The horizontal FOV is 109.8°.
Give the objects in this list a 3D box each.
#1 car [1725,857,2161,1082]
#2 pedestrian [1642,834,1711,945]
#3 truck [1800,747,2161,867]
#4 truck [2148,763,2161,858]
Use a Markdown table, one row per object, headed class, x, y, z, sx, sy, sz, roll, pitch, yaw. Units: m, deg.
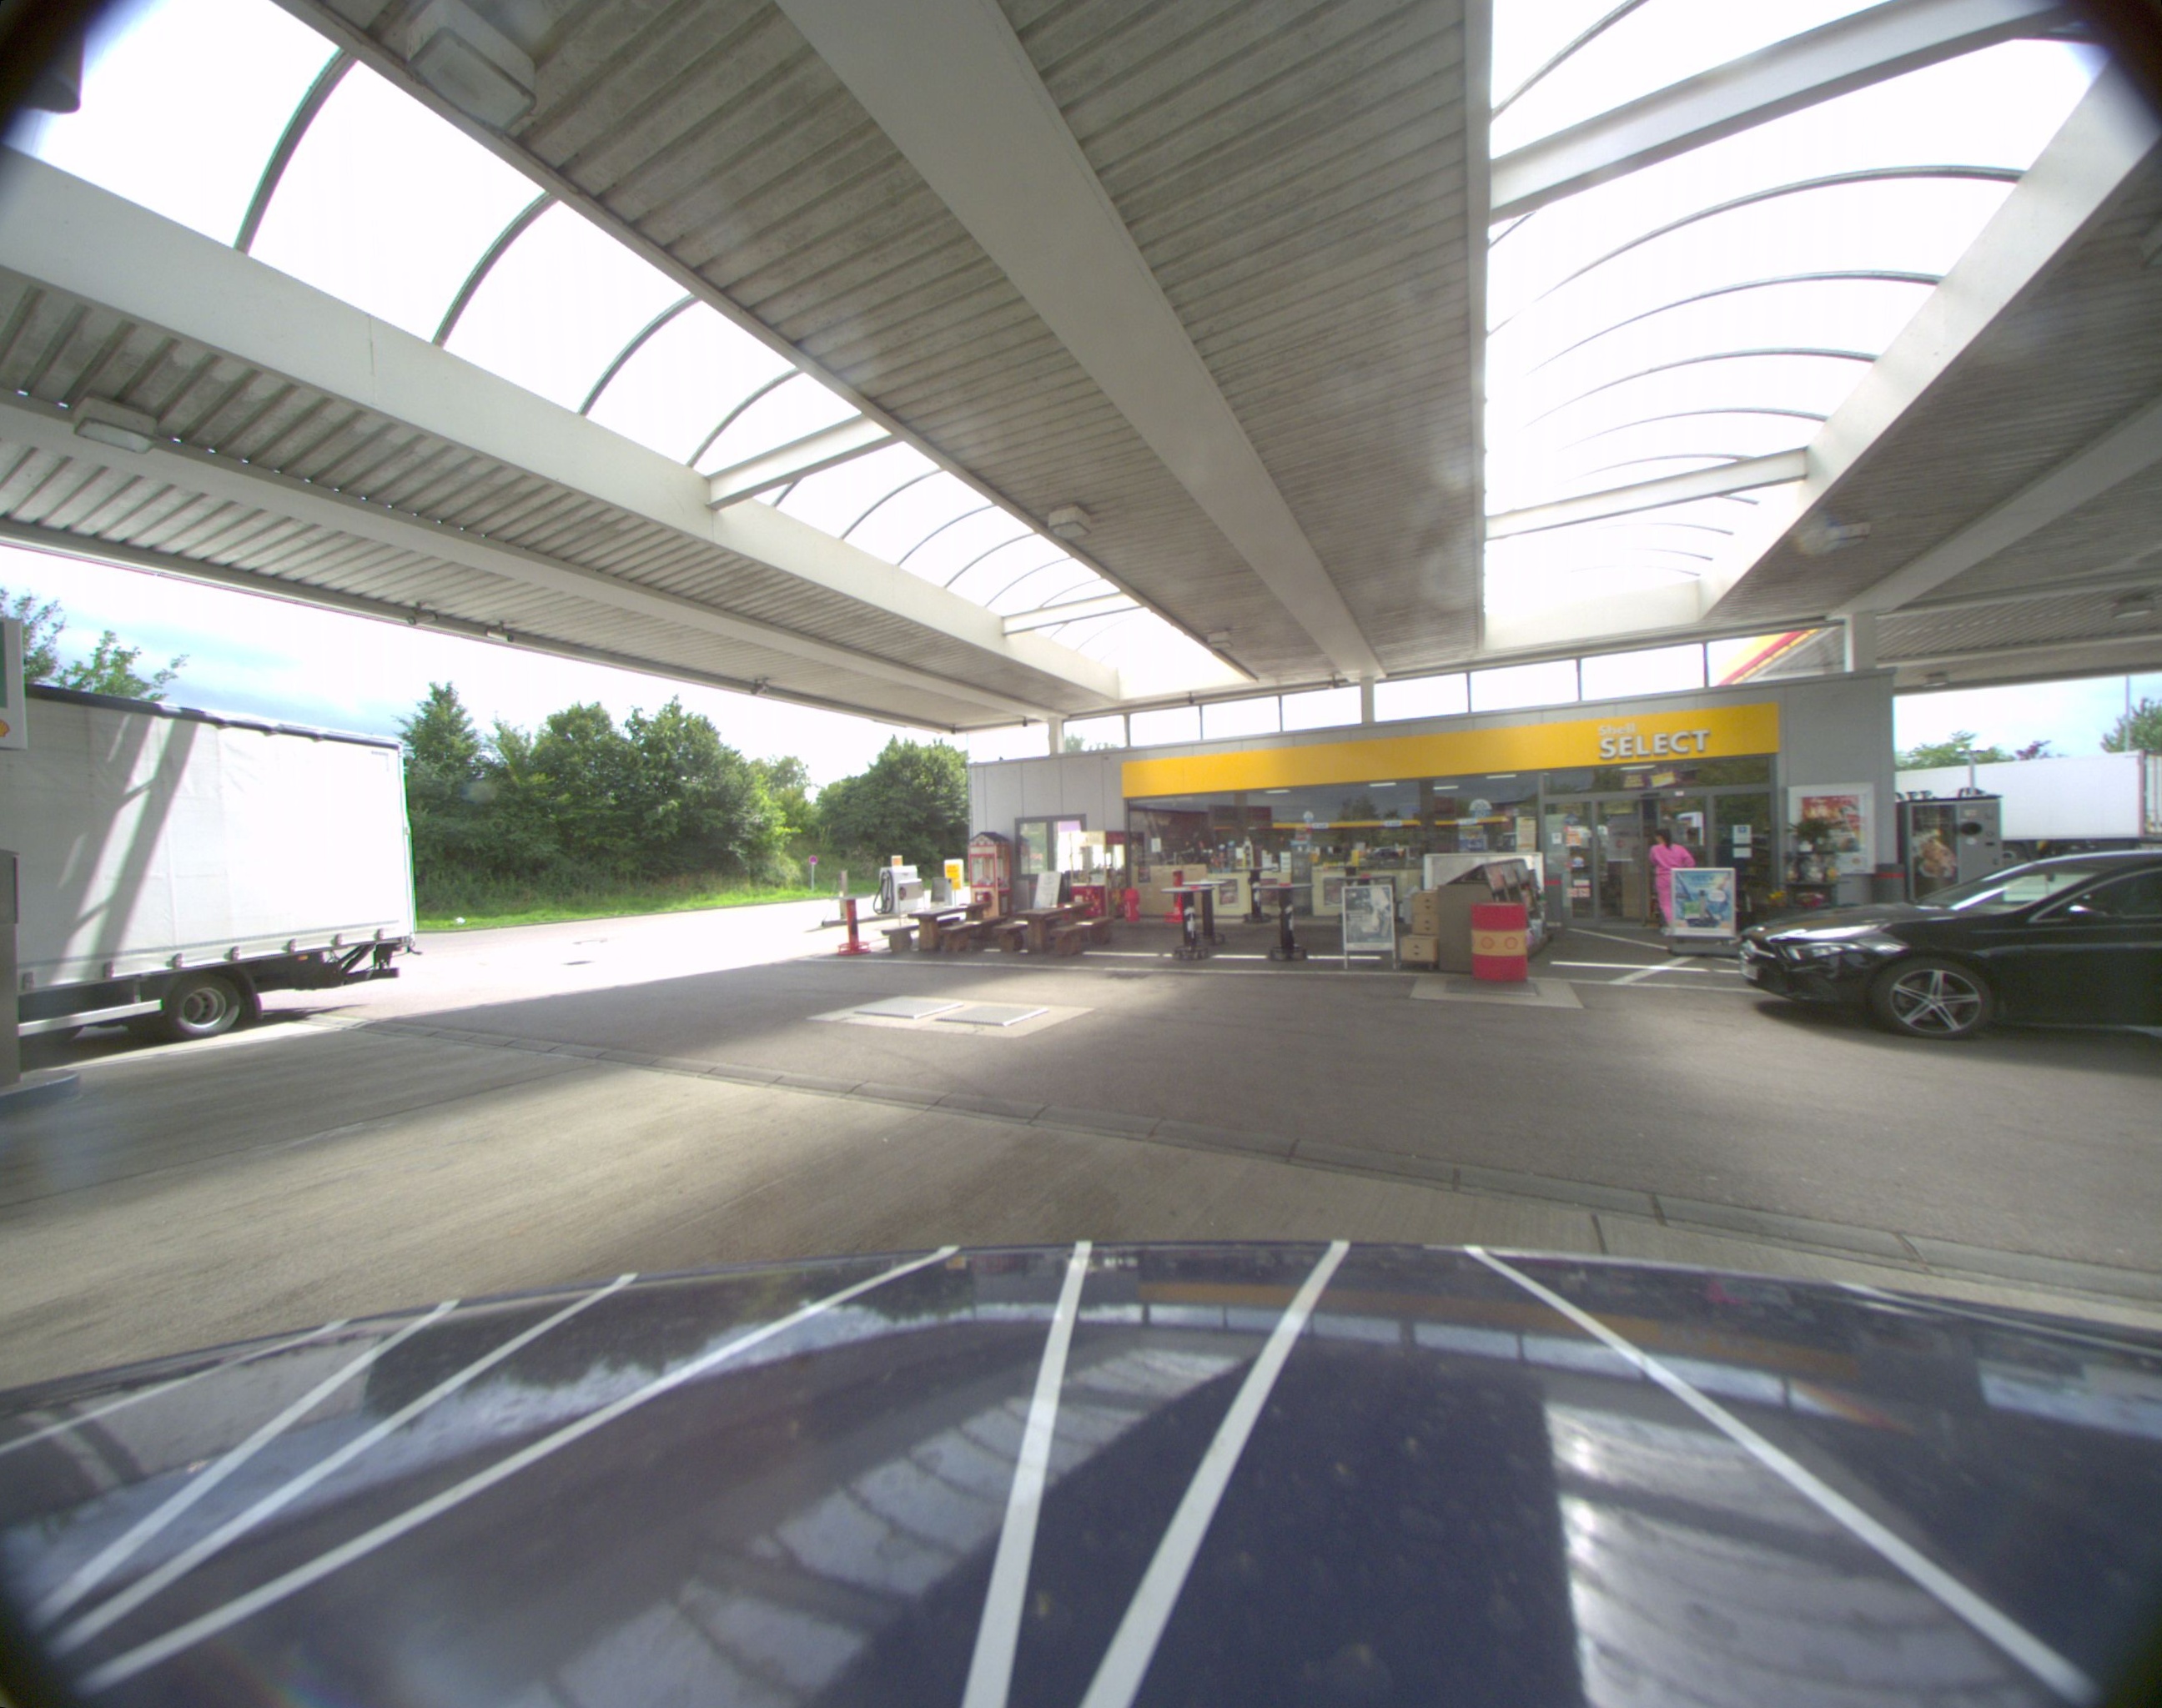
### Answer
| class | x | y | z | sx | sy | sz | roll | pitch | yaw |
| --- | --- | --- | --- | --- | --- | --- | --- | --- | --- |
| car | 8.161 | 0.813 | 5.957 | 4.461 | 1.491 | 1.782 | -2 | 1 | 28 |
| pedestrian | 9.412 | 0.553 | 12.034 | 0.626 | 1.703 | 0.623 | -2 | 1 | 14 |
| truck | 35.133 | -1.608 | 30.060 | 2.796 | 3.982 | 9.578 | -2 | 1 | -16 |
| truck | 51.482 | -2.032 | 33.141 | 3.383 | 4.479 | 6.239 | -2 | 1 | 29 |
